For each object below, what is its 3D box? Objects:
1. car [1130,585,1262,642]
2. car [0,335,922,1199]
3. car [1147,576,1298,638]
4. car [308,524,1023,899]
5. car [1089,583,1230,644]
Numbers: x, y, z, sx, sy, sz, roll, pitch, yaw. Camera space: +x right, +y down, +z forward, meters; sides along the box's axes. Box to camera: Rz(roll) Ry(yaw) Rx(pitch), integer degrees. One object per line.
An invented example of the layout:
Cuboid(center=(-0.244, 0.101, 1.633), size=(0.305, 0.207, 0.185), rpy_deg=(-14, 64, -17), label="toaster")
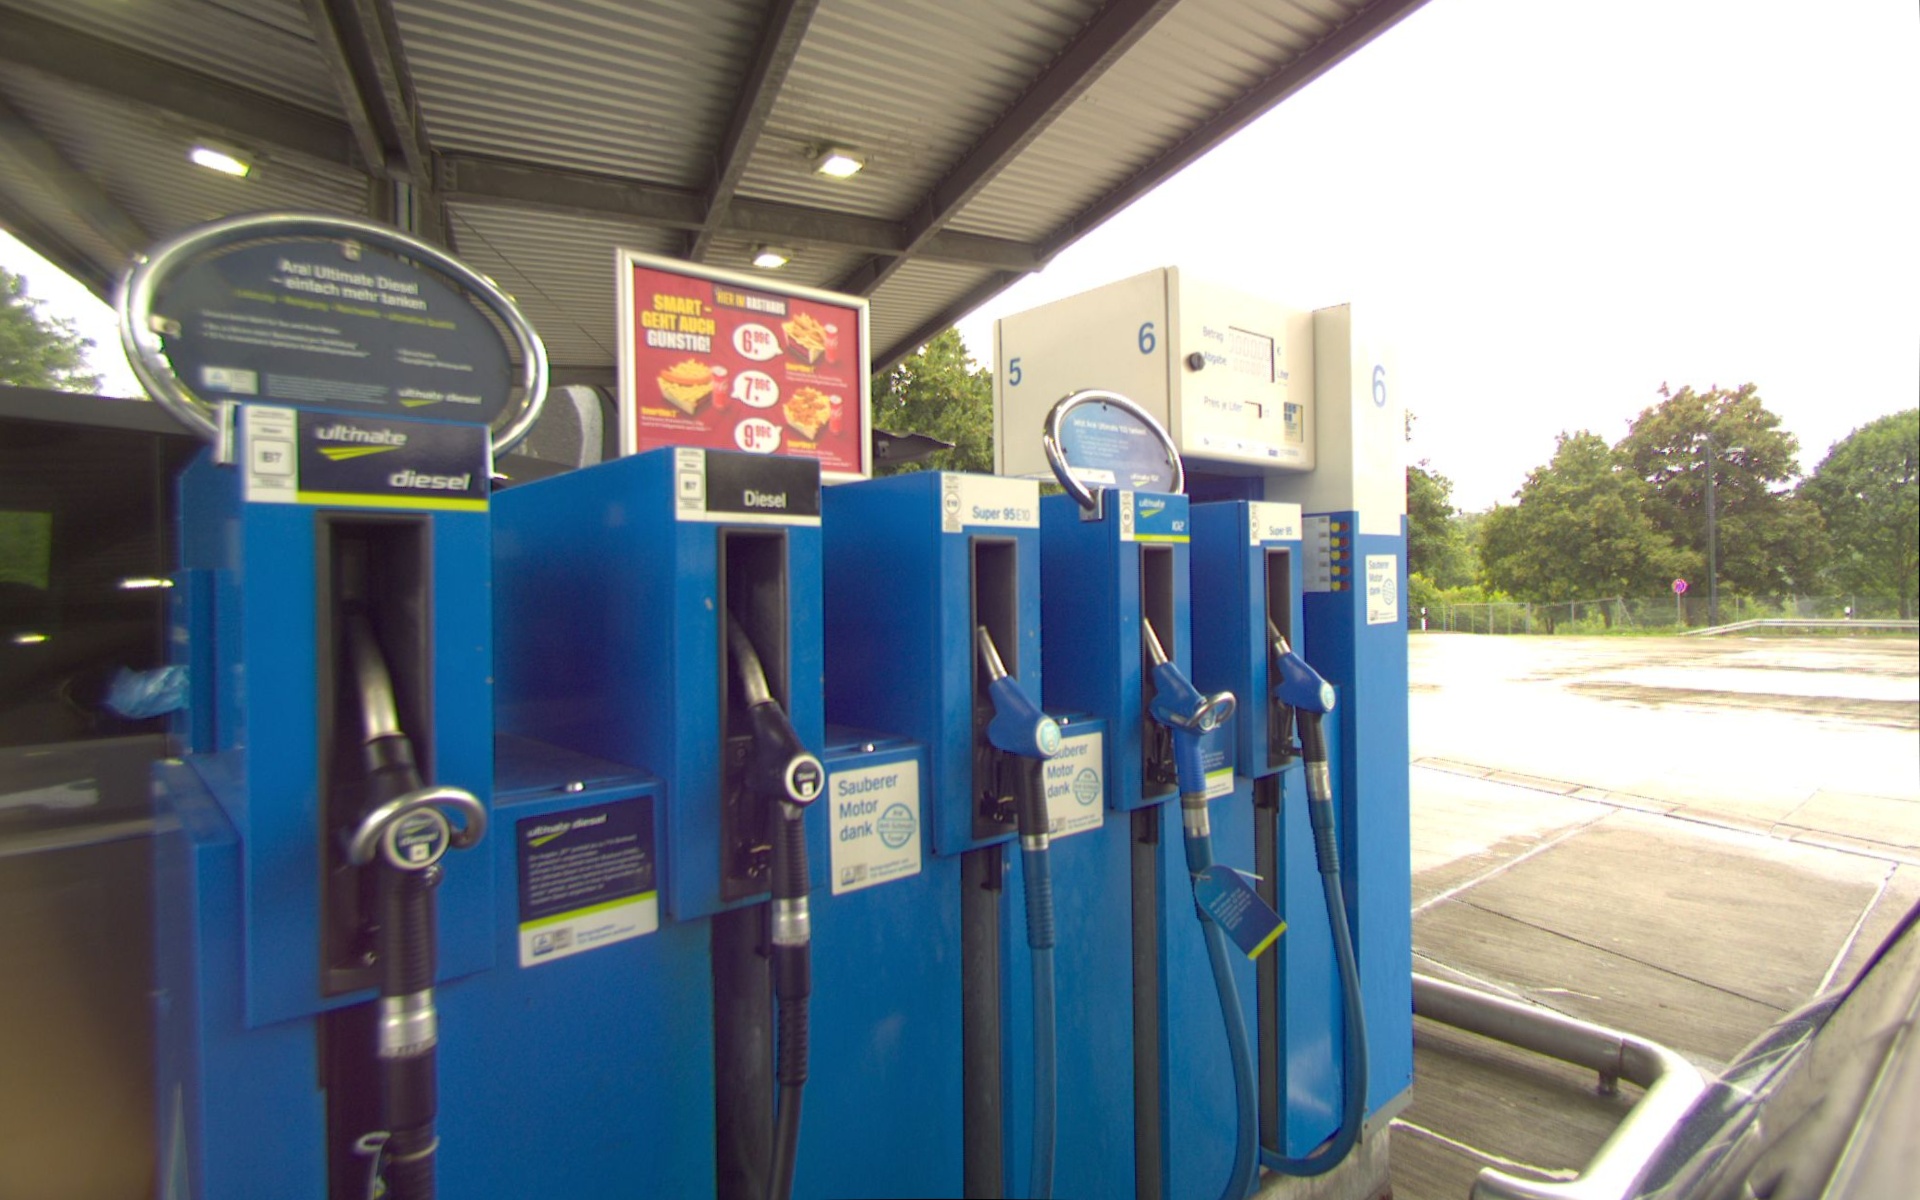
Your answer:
Cuboid(center=(7.412, 0.387, 31.916), size=(3.941, 1.680, 1.593), rpy_deg=(1, 0, 14), label="car")
Cuboid(center=(-2.613, 0.504, 1.813), size=(5.050, 1.821, 1.864), rpy_deg=(-1, 0, -41), label="car")
Cuboid(center=(8.874, 0.208, 34.499), size=(4.817, 1.974, 2.306), rpy_deg=(1, 1, 14), label="car")
Cuboid(center=(-1.796, 0.514, 7.089), size=(4.460, 1.821, 1.864), rpy_deg=(-1, 0, -41), label="car")
Cuboid(center=(5.858, 0.376, 29.726), size=(3.941, 1.680, 1.593), rpy_deg=(1, 0, 14), label="car")
